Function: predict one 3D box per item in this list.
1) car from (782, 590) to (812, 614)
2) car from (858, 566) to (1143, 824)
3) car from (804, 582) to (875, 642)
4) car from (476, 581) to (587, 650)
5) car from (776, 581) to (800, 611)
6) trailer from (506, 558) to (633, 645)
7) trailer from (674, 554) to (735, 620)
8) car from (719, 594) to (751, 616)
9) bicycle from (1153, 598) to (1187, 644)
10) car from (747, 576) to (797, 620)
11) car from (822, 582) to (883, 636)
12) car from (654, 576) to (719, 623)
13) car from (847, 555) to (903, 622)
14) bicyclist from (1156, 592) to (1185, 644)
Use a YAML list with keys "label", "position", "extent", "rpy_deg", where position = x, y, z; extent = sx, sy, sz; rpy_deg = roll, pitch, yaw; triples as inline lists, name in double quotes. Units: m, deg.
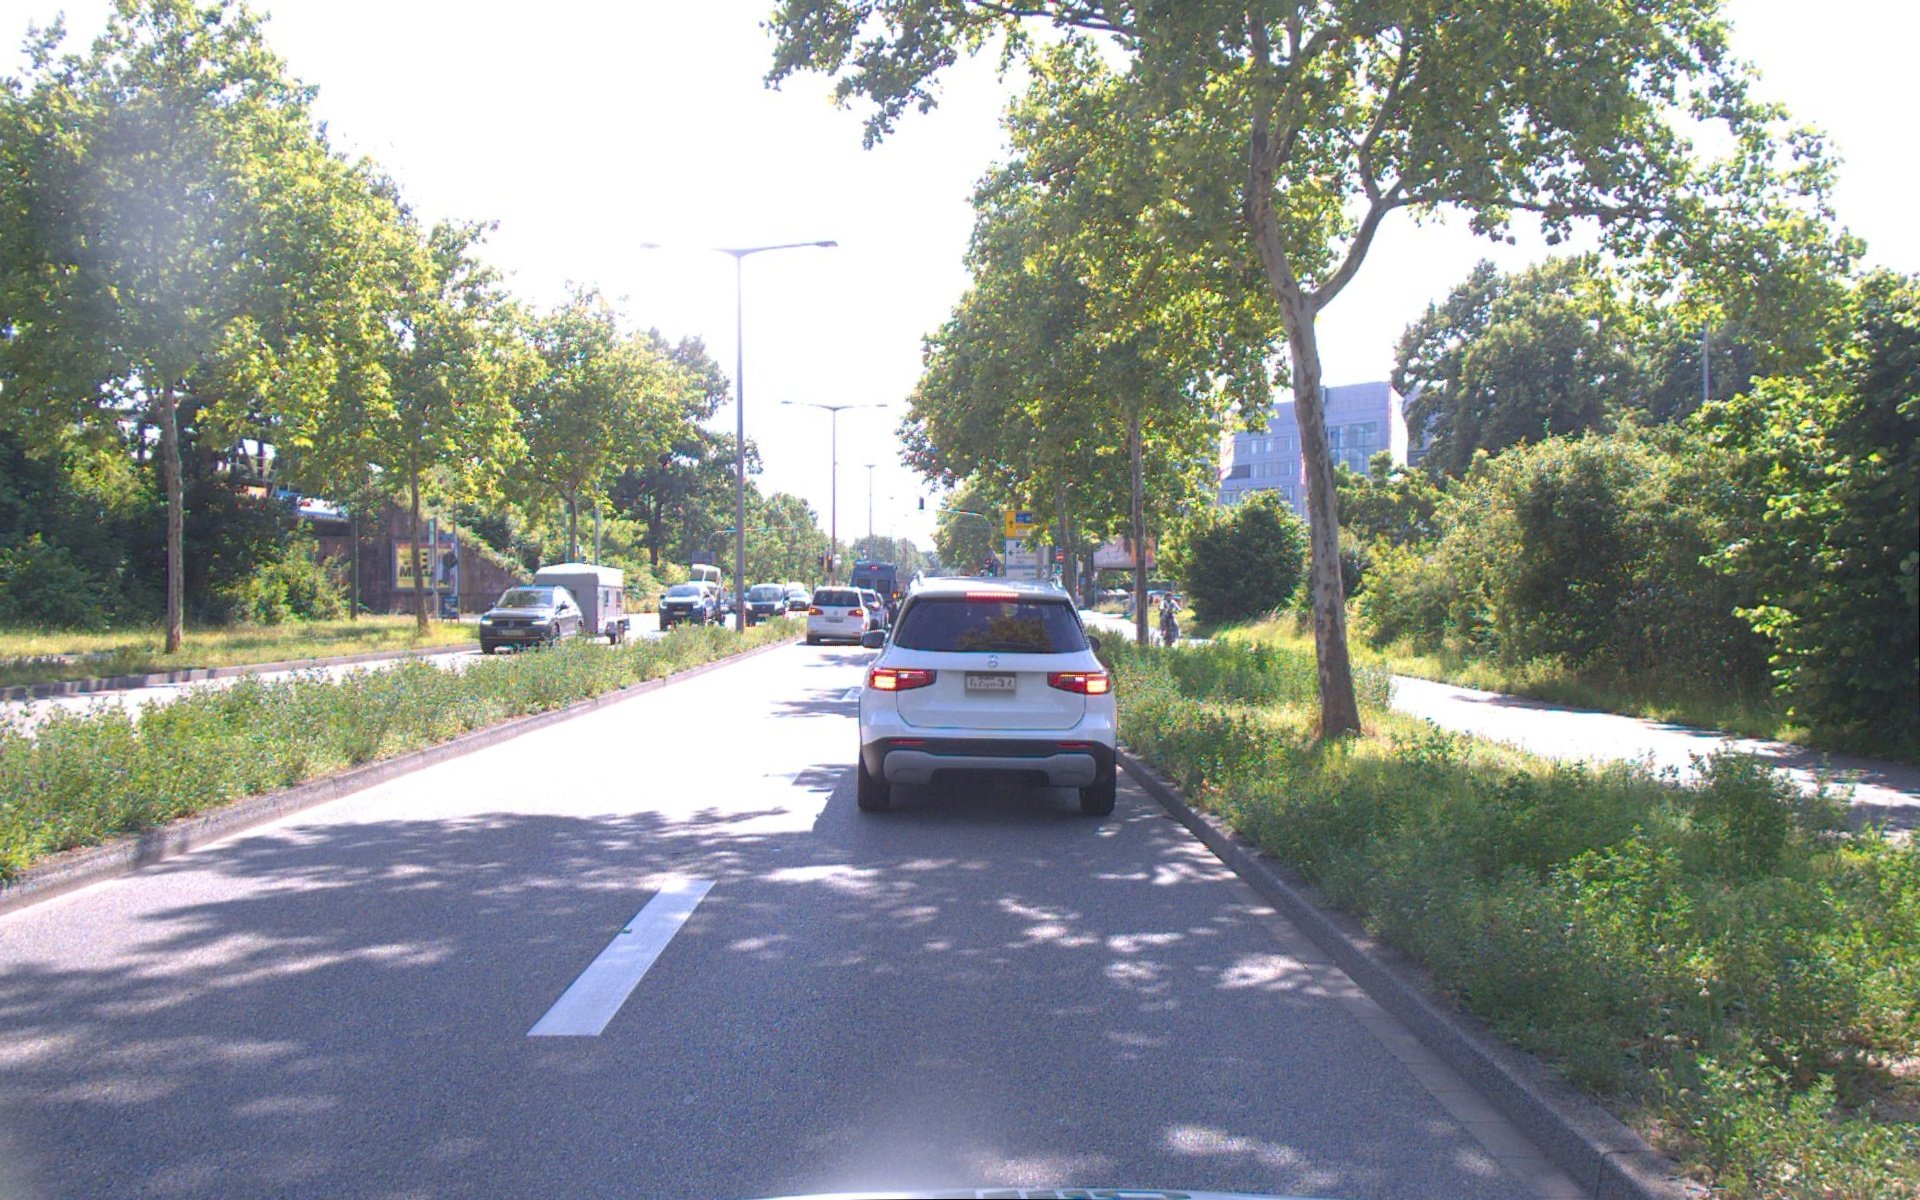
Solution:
- label: "car"
  position: [-10.711, 0.119, 108.715]
  extent: [1.570, 1.497, 3.790]
  rpy_deg: [1, 0, 0]
- label: "car"
  position: [0.197, 0.600, 12.662]
  extent: [1.816, 1.635, 3.998]
  rpy_deg: [-1, 0, -2]
- label: "car"
  position: [-3.498, 0.336, 48.576]
  extent: [1.735, 1.676, 4.352]
  rpy_deg: [1, 0, 0]
- label: "car"
  position: [-10.758, 0.378, 41.810]
  extent: [1.680, 1.650, 4.360]
  rpy_deg: [0, 0, 0]
- label: "car"
  position: [-14.920, -0.369, 143.090]
  extent: [1.955, 2.460, 5.132]
  rpy_deg: [1, 0, -7]
- label: "trailer"
  position: [-10.929, 0.034, 46.790]
  extent: [2.262, 2.305, 5.538]
  rpy_deg: [0, 0, 0]
- label: "trailer"
  position: [-11.254, -0.559, 73.100]
  extent: [1.841, 2.792, 4.828]
  rpy_deg: [2, 0, 0]
- label: "car"
  position: [-14.865, 0.327, 109.329]
  extent: [1.666, 1.389, 3.645]
  rpy_deg: [1, 0, -1]
- label: "bicycle"
  position: [6.173, 0.608, 48.734]
  extent: [0.708, 1.321, 2.095]
  rpy_deg: [1, 0, 0]
- label: "car"
  position: [-8.315, -0.078, 73.377]
  extent: [1.695, 1.841, 4.232]
  rpy_deg: [2, 0, 0]
- label: "car"
  position: [-3.507, 0.292, 54.709]
  extent: [1.735, 1.676, 4.084]
  rpy_deg: [1, 0, 0]
- label: "car"
  position: [-11.247, -0.023, 68.309]
  extent: [1.728, 1.821, 5.375]
  rpy_deg: [2, 0, 0]
- label: "car"
  position: [-3.595, -0.483, 70.698]
  extent: [2.039, 2.703, 4.874]
  rpy_deg: [2, 0, 0]
- label: "bicyclist"
  position: [6.192, 0.510, 48.730]
  extent: [0.689, 1.503, 1.009]
  rpy_deg: [1, 0, 0]
